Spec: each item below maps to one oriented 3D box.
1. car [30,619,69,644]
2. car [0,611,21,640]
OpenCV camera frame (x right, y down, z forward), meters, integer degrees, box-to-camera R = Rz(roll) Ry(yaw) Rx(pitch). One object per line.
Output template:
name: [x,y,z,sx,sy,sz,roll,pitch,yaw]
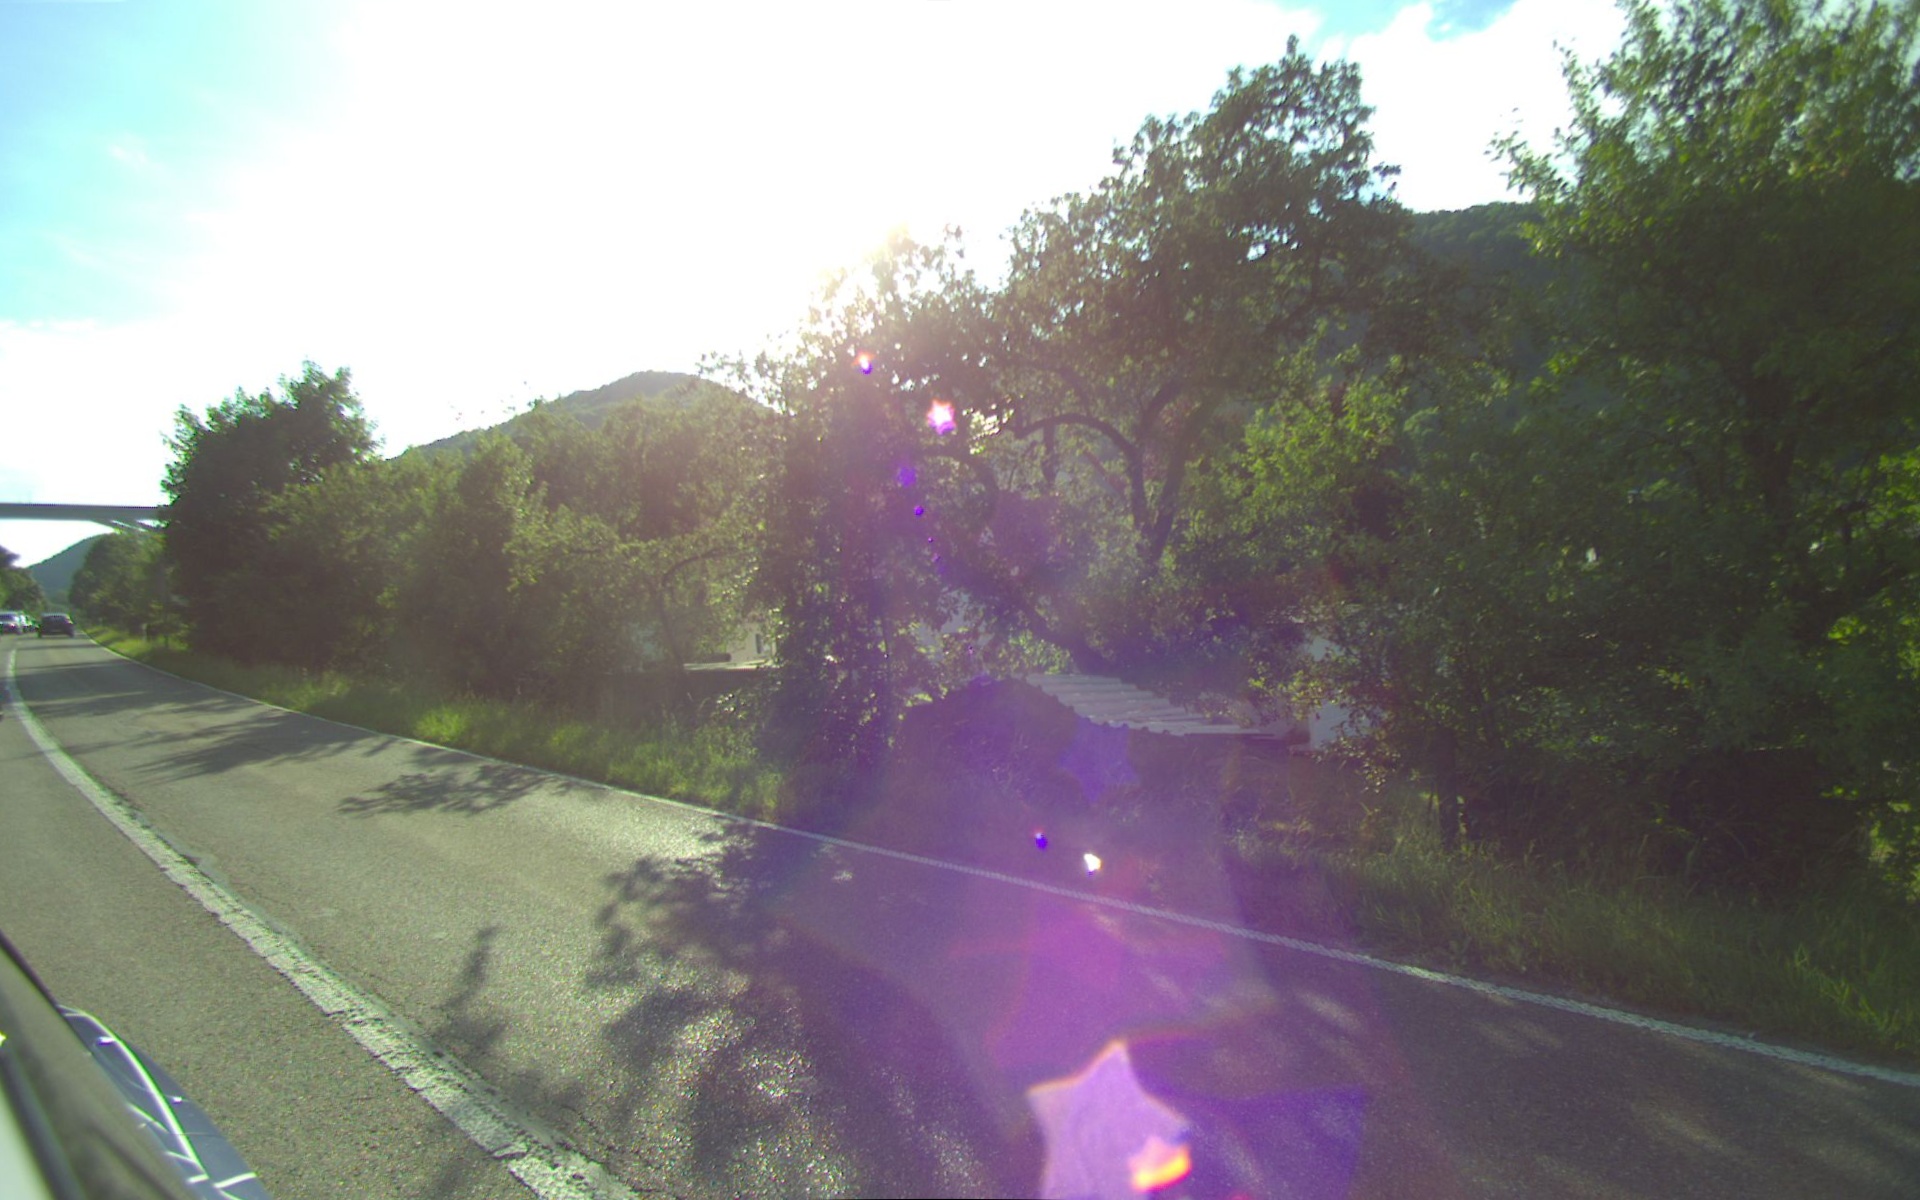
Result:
car: [-57.142,1.938,63.508,1.684,1.441,4.054,-1,0,-44]
car: [-70.513,1.861,74.529,1.970,2.029,4.004,-1,0,-43]
